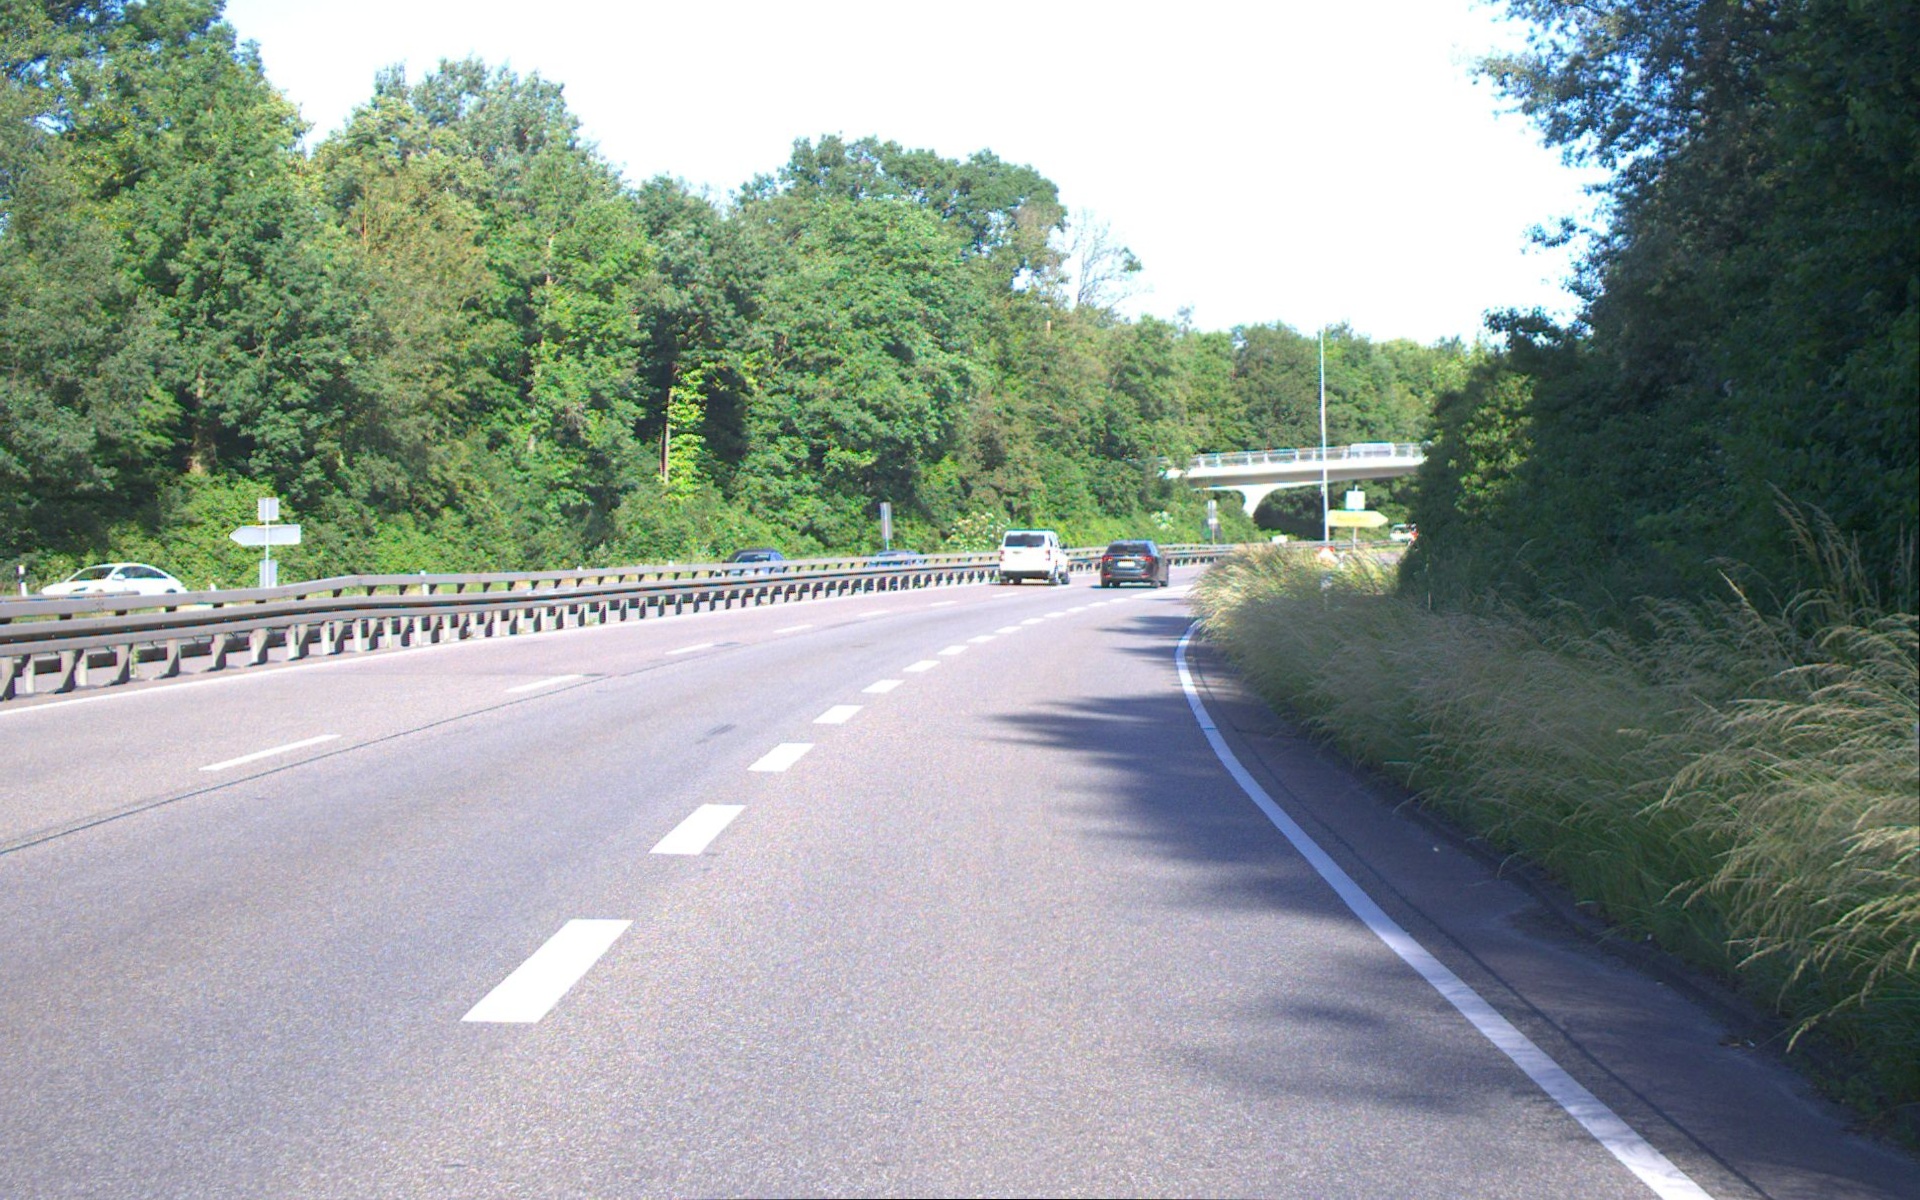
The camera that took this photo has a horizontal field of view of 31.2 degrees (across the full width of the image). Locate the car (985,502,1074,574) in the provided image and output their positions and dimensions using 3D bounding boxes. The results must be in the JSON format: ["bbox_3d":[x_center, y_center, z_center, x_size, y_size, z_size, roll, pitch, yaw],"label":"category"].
[{"bbox_3d":[2.269,-2.013,111.673,1.995,2.270,3.997,-1,1,14],"label":"car"}]

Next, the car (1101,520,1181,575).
[{"bbox_3d":[5.648,-1.645,107.172,1.740,1.656,3.943,-1,1,14],"label":"car"}]

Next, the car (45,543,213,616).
[{"bbox_3d":[-23.457,-0.556,97.207,1.997,2.007,4.621,0,0,30],"label":"car"}]
